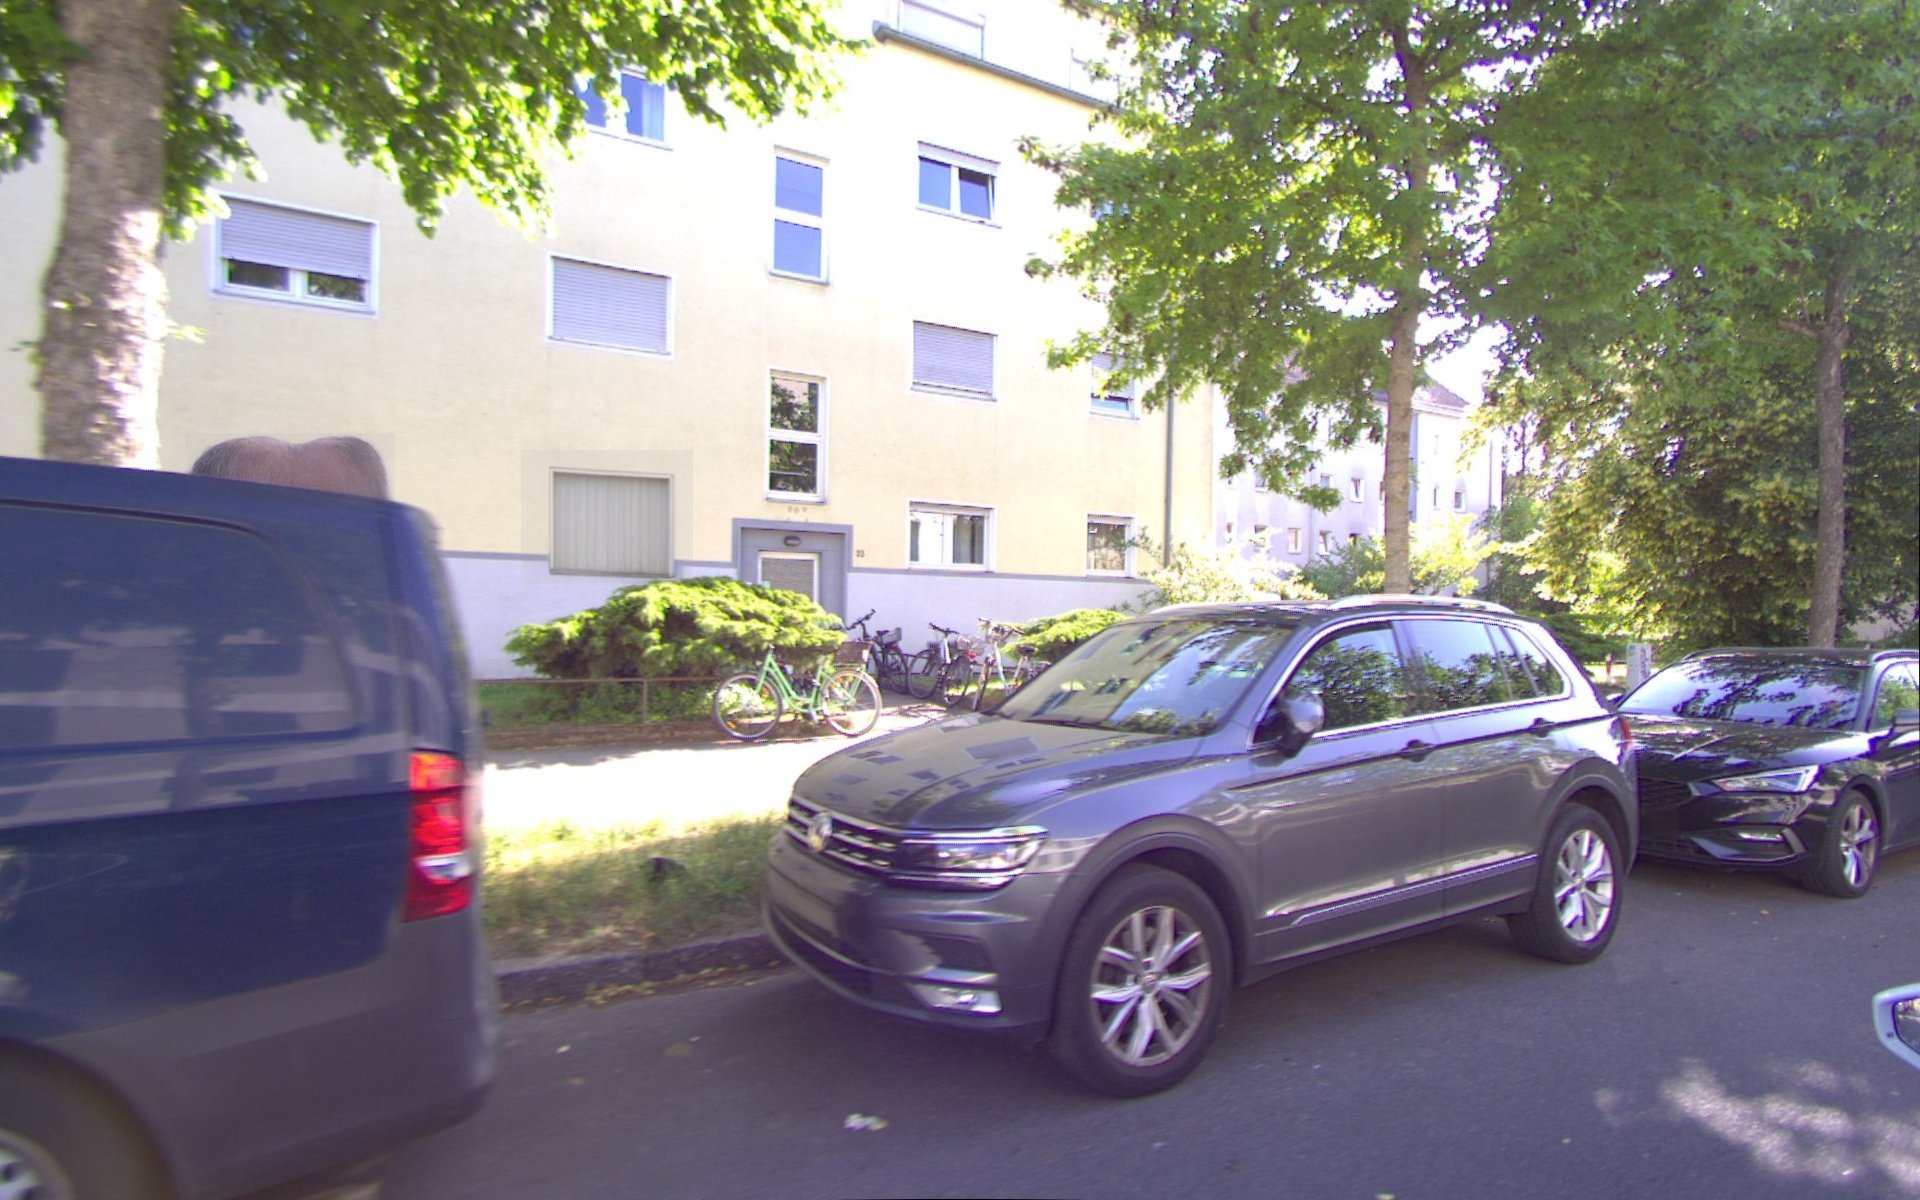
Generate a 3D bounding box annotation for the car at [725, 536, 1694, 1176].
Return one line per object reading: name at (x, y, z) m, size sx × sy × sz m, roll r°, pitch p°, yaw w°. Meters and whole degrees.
car at (1.375, 0.748, 4.660) m, size 4.477 × 1.708 × 1.784 m, roll 2°, pitch -2°, yaw -32°

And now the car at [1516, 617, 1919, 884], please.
car at (6.283, 0.893, 7.424) m, size 4.436 × 1.471 × 1.785 m, roll 1°, pitch -2°, yaw -30°

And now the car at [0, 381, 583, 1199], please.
car at (-3.418, 0.513, 1.972) m, size 4.807 × 1.874 × 1.786 m, roll 1°, pitch -1°, yaw -29°

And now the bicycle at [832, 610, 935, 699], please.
bicycle at (-1.206, 0.793, 15.372) m, size 0.768 × 1.242 × 1.942 m, roll 2°, pitch 0°, yaw -31°

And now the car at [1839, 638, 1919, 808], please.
car at (10.609, 1.149, 9.847) m, size 4.437 × 1.500 × 1.698 m, roll 1°, pitch -2°, yaw -30°

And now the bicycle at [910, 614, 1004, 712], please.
bicycle at (-0.067, 0.839, 13.929) m, size 0.583 × 1.242 × 1.628 m, roll 1°, pitch 0°, yaw -28°

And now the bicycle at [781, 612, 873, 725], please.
bicycle at (-1.642, 0.783, 12.185) m, size 0.510 × 1.242 × 1.814 m, roll 1°, pitch 0°, yaw -27°

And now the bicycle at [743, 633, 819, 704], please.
bicycle at (-2.563, 0.945, 14.258) m, size 0.577 × 0.881 × 1.703 m, roll 2°, pitch 0°, yaw -27°

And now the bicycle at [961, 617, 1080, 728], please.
bicycle at (0.716, 0.855, 12.375) m, size 0.512 × 1.242 × 1.622 m, roll 1°, pitch 0°, yaw -37°

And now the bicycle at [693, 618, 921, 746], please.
bicycle at (-1.526, 0.798, 10.266) m, size 2.234 × 1.205 × 0.592 m, roll 1°, pitch -1°, yaw -31°
